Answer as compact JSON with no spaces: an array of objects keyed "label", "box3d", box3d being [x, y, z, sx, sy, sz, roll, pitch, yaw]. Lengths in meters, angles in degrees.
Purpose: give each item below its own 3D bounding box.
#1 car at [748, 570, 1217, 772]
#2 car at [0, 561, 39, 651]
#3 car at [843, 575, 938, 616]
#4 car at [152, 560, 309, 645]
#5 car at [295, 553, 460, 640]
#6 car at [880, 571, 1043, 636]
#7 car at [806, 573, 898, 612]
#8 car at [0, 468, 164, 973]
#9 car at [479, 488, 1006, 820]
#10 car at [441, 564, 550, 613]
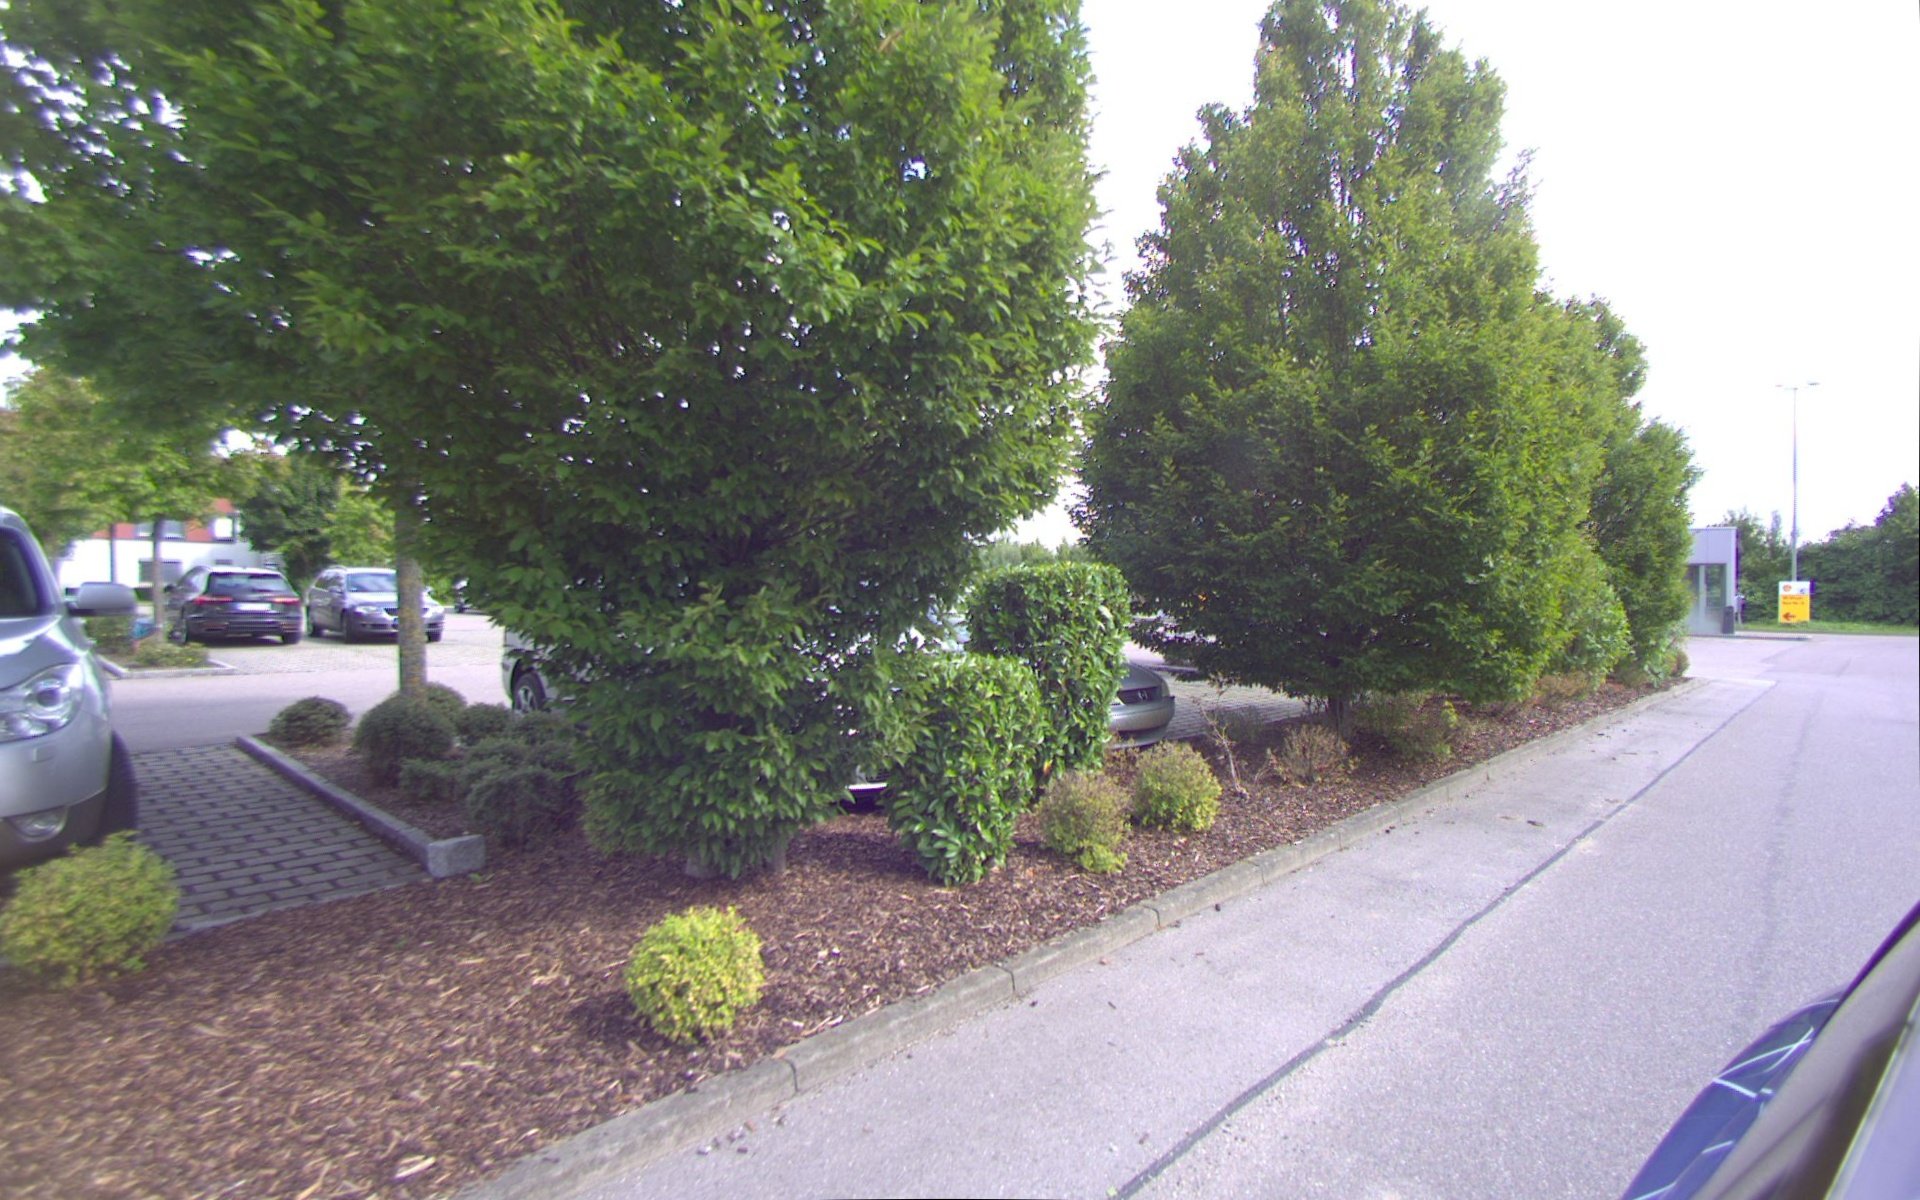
[{"label":"car","box3d":[0.034,0.463,8.852,3.985,1.367,1.699,1,0,42]},{"label":"car","box3d":[-16.334,0.062,16.466,4.262,1.363,1.694,1,0,44]},{"label":"car","box3d":[-3.102,-0.199,45.567,3.934,1.772,1.995,0,0,-44]},{"label":"car","box3d":[-14.028,0.024,19.380,4.262,1.446,1.694,1,0,44]},{"label":"car","box3d":[-12.008,-0.079,20.761,1.967,1.591,3.989,1,0,-45]},{"label":"car","box3d":[-0.002,0.075,27.888,4.235,1.638,1.971,1,0,40]},{"label":"car","box3d":[-5.051,-0.336,47.591,3.934,1.772,1.995,0,0,-44]},{"label":"car","box3d":[-5.245,0.335,4.737,1.888,1.717,4.668,0,2,-45]},{"label":"car","box3d":[-1.829,0.262,7.410,4.349,1.738,1.631,1,0,44]},{"label":"car","box3d":[-15.828,-0.387,34.437,3.984,1.549,1.970,1,0,42]}]
